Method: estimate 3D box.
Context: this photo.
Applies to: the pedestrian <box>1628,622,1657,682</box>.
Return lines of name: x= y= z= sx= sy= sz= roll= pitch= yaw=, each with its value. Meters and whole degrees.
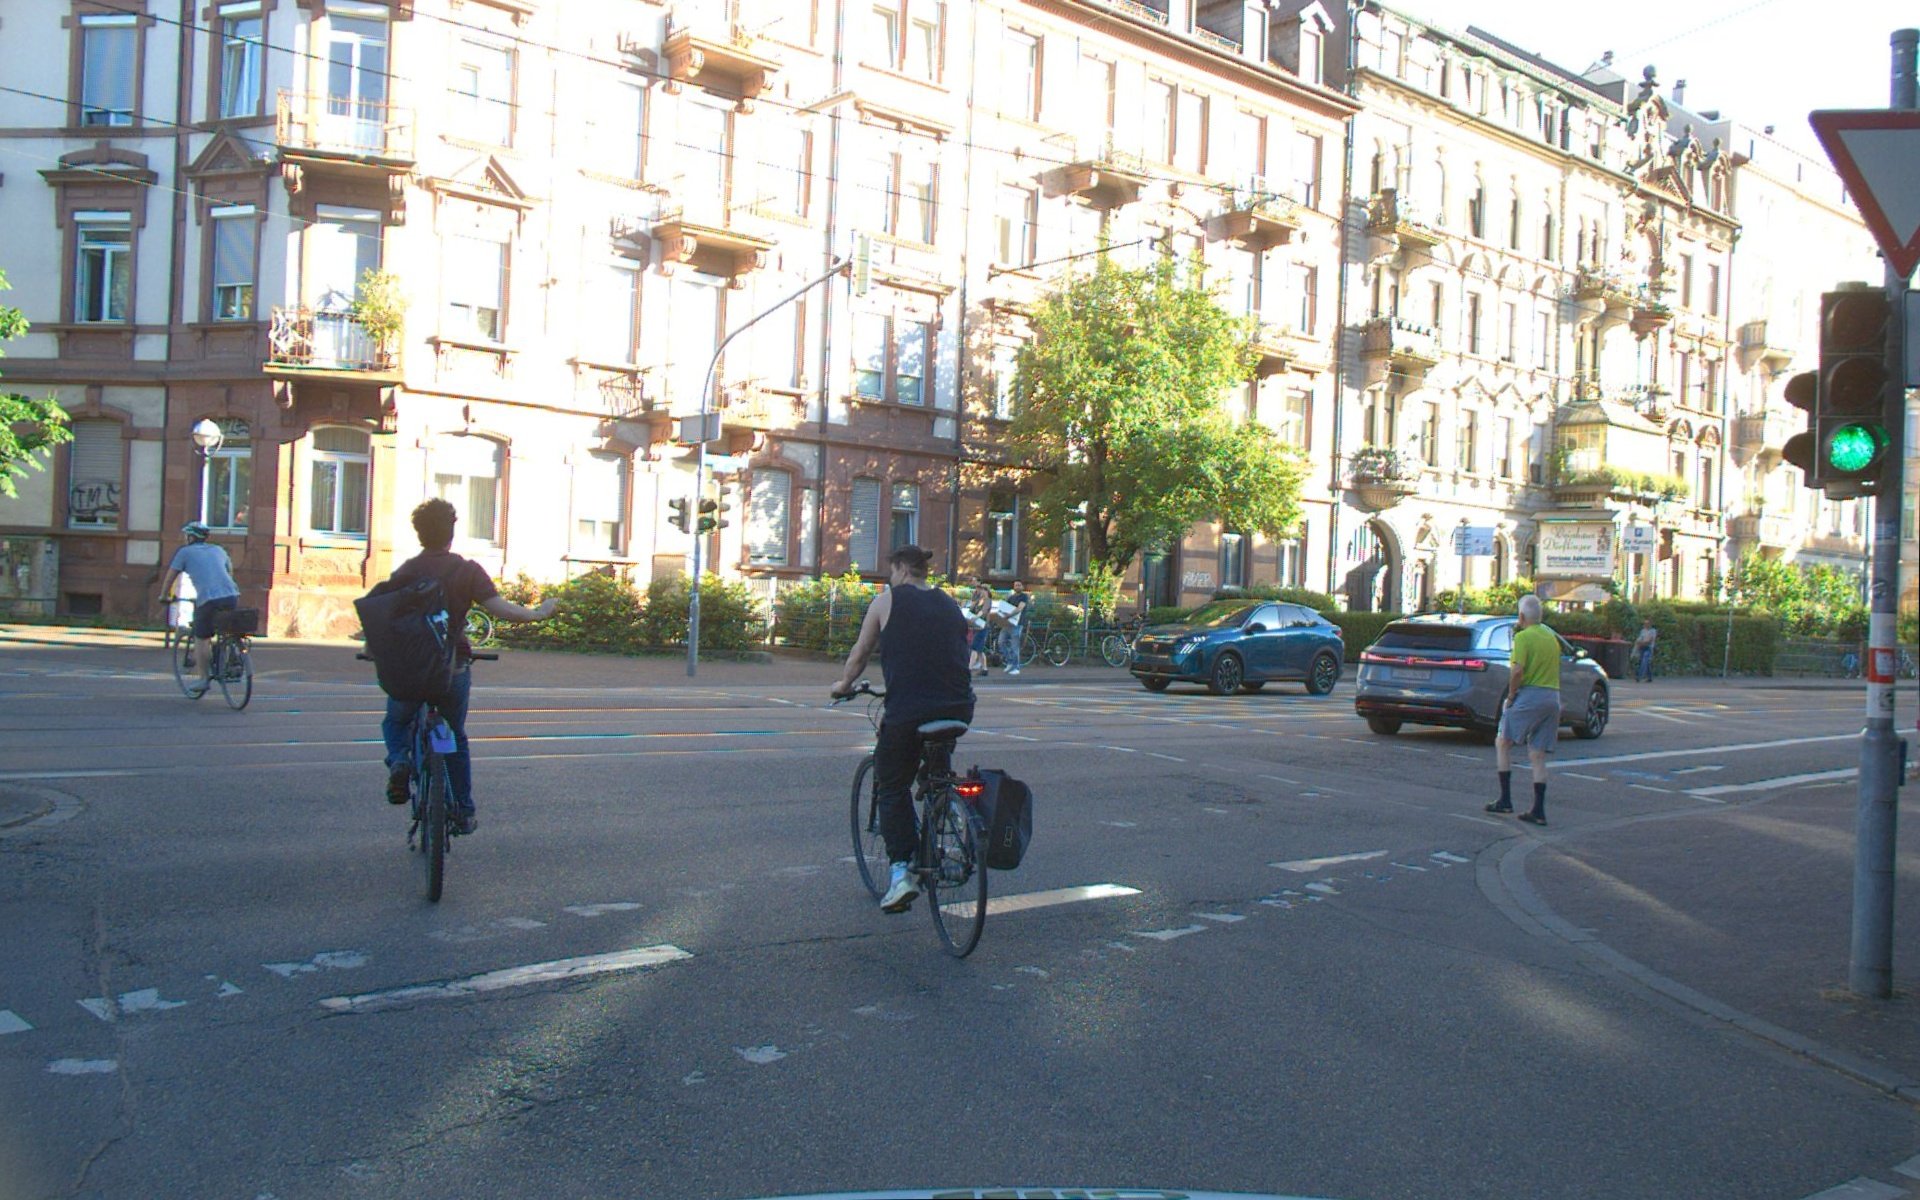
pedestrian: x=19.120 y=1.458 z=46.351 sx=0.488 sy=1.669 sz=0.521 roll=2 pitch=0 yaw=-29

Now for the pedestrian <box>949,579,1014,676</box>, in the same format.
pedestrian: x=0.389 y=0.502 z=30.355 sx=0.883 sy=1.693 sz=0.707 roll=2 pitch=2 yaw=-24

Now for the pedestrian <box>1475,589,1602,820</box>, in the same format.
pedestrian: x=4.713 y=0.822 z=13.521 sx=0.629 sy=1.757 sz=0.889 roll=5 pitch=1 yaw=4

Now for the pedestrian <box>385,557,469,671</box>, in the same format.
pedestrian: x=-8.176 y=0.207 z=25.393 sx=0.883 sy=1.663 sz=0.726 roll=4 pitch=1 yaw=18

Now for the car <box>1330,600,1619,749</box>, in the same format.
car: x=6.732 y=0.922 z=21.344 sx=1.940 sy=1.613 sz=4.451 roll=3 pitch=1 yaw=40

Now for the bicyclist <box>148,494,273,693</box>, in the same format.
bicyclist: x=-7.580 y=-0.069 z=16.729 sx=0.929 sy=1.946 sz=0.792 roll=2 pitch=0 yaw=43

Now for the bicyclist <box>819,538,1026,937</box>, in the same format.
bicyclist: x=-0.194 y=0.589 z=7.569 sx=0.675 sy=1.685 sz=0.984 roll=1 pitch=-1 yaw=-18

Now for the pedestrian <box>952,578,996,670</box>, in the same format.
pedestrian: x=0.268 y=0.464 z=32.080 sx=0.627 sy=1.745 sz=0.517 roll=2 pitch=0 yaw=-28

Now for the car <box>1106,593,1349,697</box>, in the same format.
car: x=4.848 y=0.812 z=29.646 sx=4.369 sy=1.679 sz=1.920 roll=2 pitch=0 yaw=-41

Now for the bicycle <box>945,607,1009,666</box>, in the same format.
bicycle: x=0.343 y=0.734 z=33.181 sx=1.219 sy=1.126 sz=0.438 roll=2 pitch=1 yaw=-35

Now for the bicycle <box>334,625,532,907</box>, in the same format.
bicycle: x=-2.609 y=0.730 z=8.040 sx=0.707 sy=1.126 sz=1.953 roll=3 pitch=0 yaw=-23

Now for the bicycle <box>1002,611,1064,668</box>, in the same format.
bicycle: x=1.503 y=0.820 z=33.975 sx=1.219 sy=1.126 sz=0.438 roll=2 pitch=1 yaw=-35

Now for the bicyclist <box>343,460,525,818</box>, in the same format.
bicyclist: x=-2.549 y=0.180 z=7.970 sx=0.697 sy=1.601 sz=0.950 roll=3 pitch=0 yaw=-23

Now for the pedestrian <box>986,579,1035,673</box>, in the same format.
pedestrian: x=0.963 y=0.496 z=31.469 sx=0.627 sy=1.745 sz=0.658 roll=2 pitch=0 yaw=-27

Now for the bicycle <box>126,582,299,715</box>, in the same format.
bicycle: x=-7.580 y=0.461 z=16.709 sx=2.189 sy=1.205 sz=0.807 roll=2 pitch=0 yaw=44

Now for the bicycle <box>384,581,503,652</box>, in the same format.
bicycle: x=-9.249 y=0.297 z=29.654 sx=1.923 sy=1.126 sz=0.442 roll=4 pitch=0 yaw=-7

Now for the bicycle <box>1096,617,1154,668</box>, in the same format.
bicycle: x=3.556 y=0.924 z=35.533 sx=1.220 sy=1.056 sz=0.437 roll=2 pitch=1 yaw=-36
